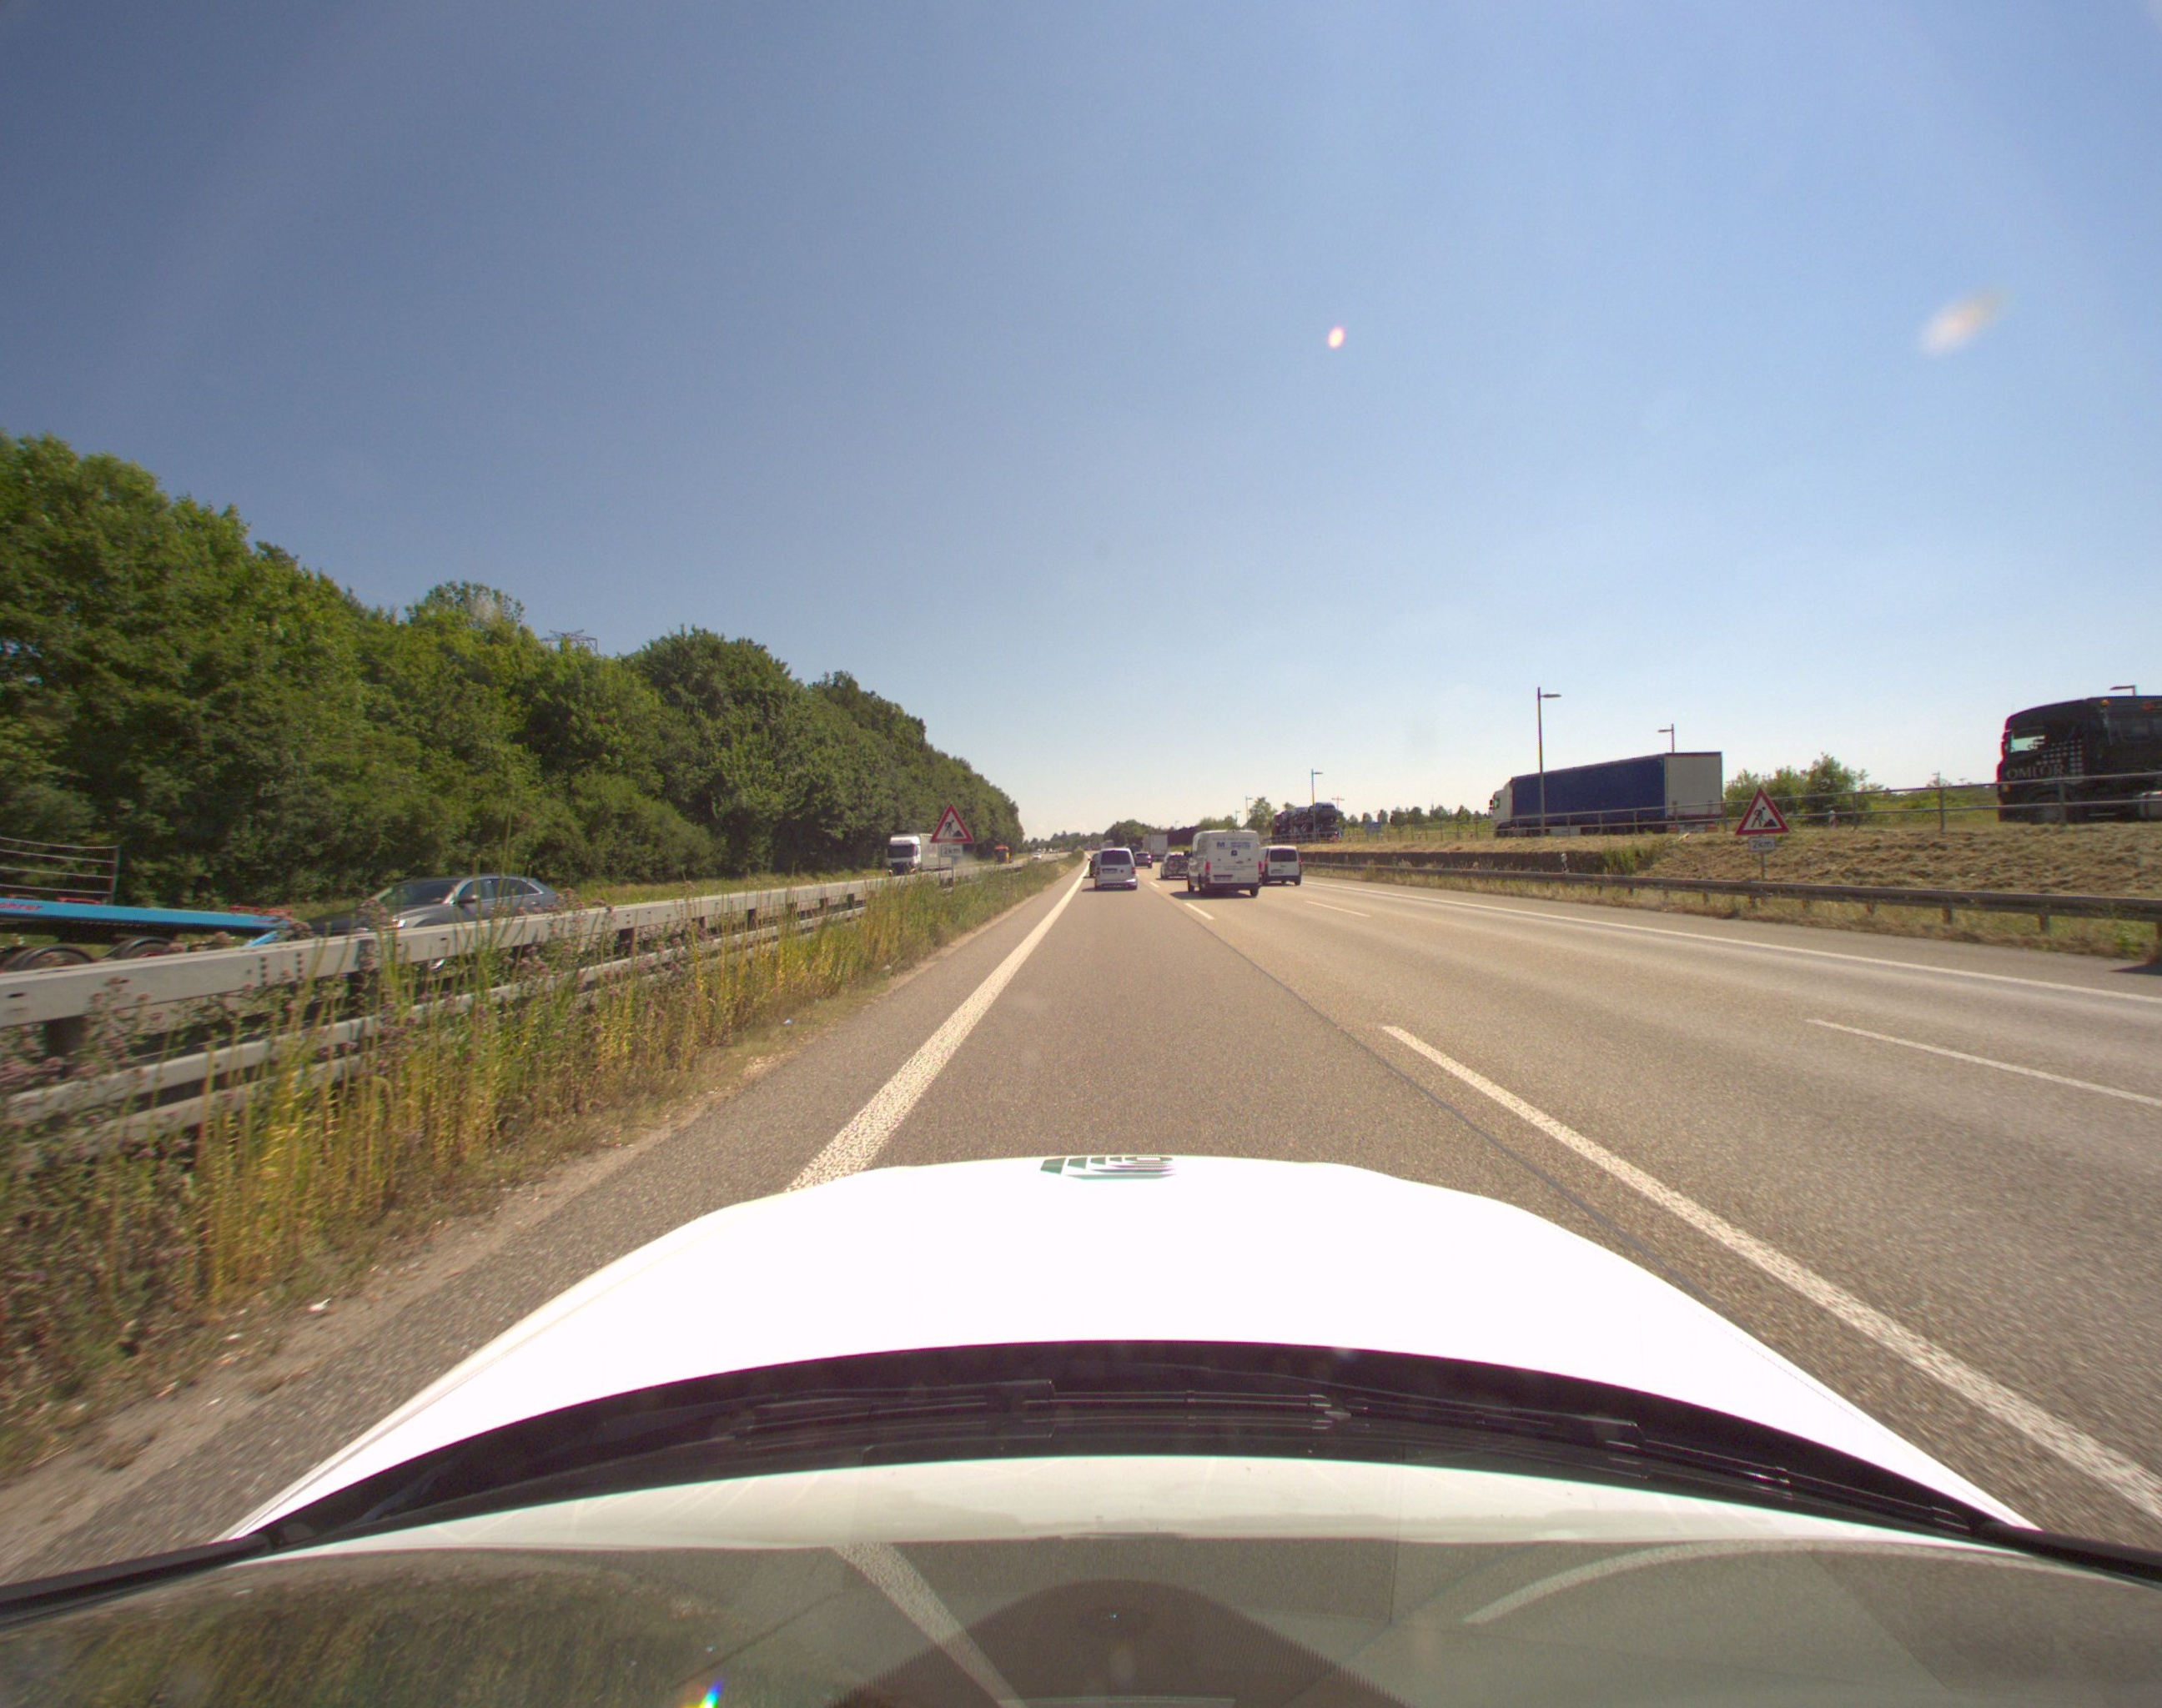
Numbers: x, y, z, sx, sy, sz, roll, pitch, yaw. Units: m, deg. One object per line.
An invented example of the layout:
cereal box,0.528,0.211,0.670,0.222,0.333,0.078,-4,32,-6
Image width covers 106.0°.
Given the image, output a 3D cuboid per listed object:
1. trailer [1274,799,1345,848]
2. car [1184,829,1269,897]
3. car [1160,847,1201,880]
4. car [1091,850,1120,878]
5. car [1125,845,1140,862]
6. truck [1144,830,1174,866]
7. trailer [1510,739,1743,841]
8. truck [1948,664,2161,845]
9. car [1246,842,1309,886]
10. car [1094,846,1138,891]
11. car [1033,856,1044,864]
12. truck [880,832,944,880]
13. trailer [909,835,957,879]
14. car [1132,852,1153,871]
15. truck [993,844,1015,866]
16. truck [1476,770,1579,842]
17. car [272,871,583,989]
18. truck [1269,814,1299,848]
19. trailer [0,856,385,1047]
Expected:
trailer,23.583,-2.921,85.440,2.596,4.258,18.425,0,-1,1
car,5.158,0.315,29.674,2.174,2.254,5.363,-1,-1,1
car,5.588,0.546,46.281,1.968,1.733,4.091,-2,-1,3
car,1.610,0.634,52.552,1.737,1.701,4.092,-2,-1,3
car,6.063,-0.010,95.642,1.668,1.891,4.091,-2,-1,3
truck,11.412,-0.750,119.776,3.773,5.000,12.527,0,-1,3
trailer,27.778,-2.940,42.985,3.041,4.083,14.261,0,-1,1
truck,26.859,-2.375,17.240,3.775,4.083,12.518,0,-1,1
car,9.076,0.466,37.992,1.944,1.838,4.178,-2,-1,1
car,1.525,0.596,35.239,1.738,1.764,4.091,-2,-1,3
car,-9.427,1.315,179.985,1.986,1.670,5.612,-4,-1,1
truck,-15.292,0.177,74.759,3.442,3.994,11.122,-2,0,0
trailer,-15.233,0.357,84.291,3.442,4.279,7.969,0,-1,0
car,5.831,0.717,77.566,1.894,1.672,4.091,-2,-1,3
truck,-13.756,0.158,146.153,2.773,3.738,11.158,0,-1,1
truck,27.979,-2.868,51.387,3.041,4.083,6.399,0,-1,1
car,-11.718,1.245,15.178,1.718,1.656,4.861,-4,0,1
truck,23.837,-2.683,95.791,2.593,3.827,4.001,0,-1,1
trailer,-16.480,1.377,12.996,3.133,2.639,8.536,0,-1,3
